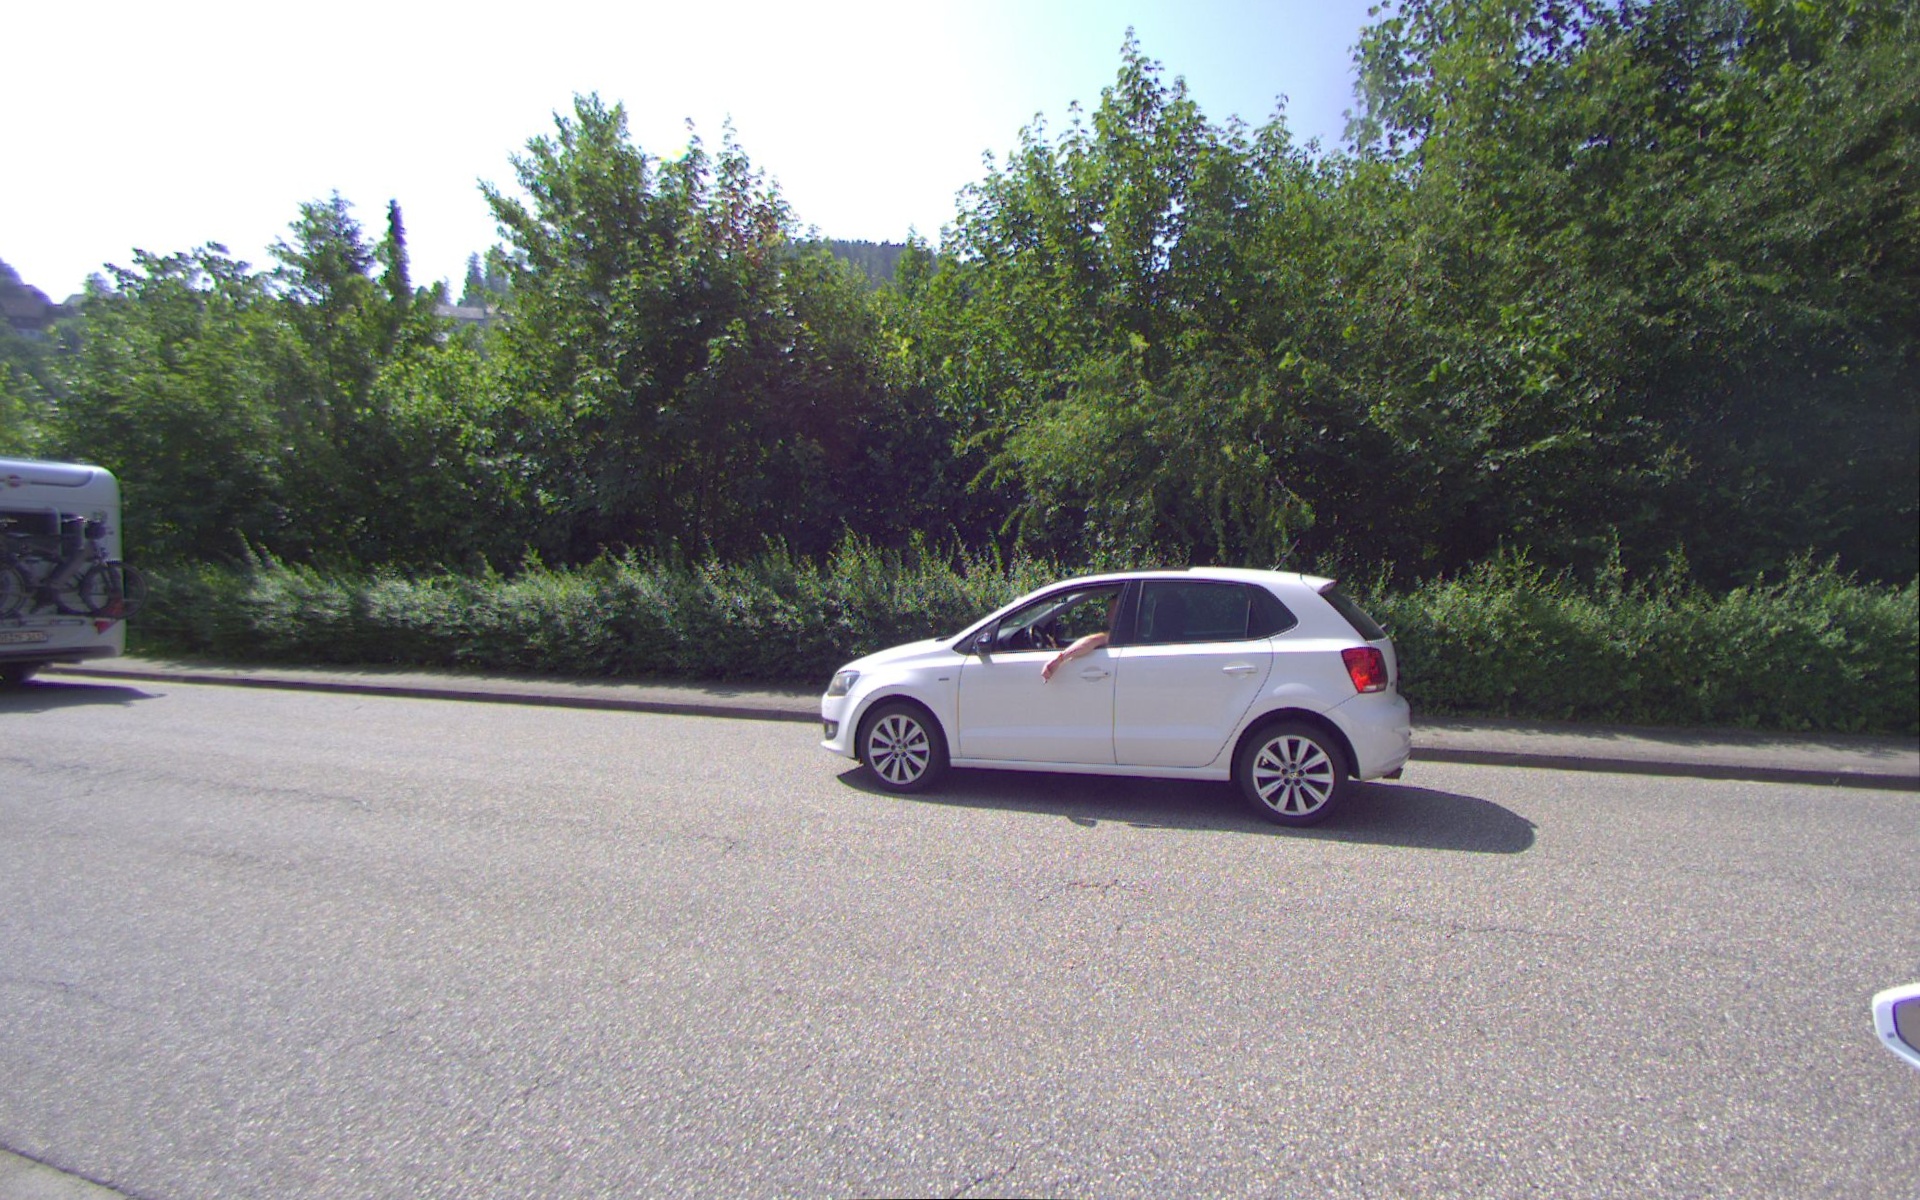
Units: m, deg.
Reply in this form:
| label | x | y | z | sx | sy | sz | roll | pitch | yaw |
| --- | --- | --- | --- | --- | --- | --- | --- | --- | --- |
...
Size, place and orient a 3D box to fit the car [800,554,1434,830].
| label | x | y | z | sx | sy | sz | roll | pitch | yaw |
| --- | --- | --- | --- | --- | --- | --- | --- | --- | --- |
| car | 0.994 | 0.452 | 6.681 | 3.752 | 1.424 | 1.609 | 1 | 1 | 21 |

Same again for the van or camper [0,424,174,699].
| label | x | y | z | sx | sy | sz | roll | pitch | yaw |
| --- | --- | --- | --- | --- | --- | --- | --- | --- | --- |
| van or camper | -13.925 | -0.450 | 12.869 | 7.894 | 2.993 | 2.365 | 0 | 1 | 22 |
